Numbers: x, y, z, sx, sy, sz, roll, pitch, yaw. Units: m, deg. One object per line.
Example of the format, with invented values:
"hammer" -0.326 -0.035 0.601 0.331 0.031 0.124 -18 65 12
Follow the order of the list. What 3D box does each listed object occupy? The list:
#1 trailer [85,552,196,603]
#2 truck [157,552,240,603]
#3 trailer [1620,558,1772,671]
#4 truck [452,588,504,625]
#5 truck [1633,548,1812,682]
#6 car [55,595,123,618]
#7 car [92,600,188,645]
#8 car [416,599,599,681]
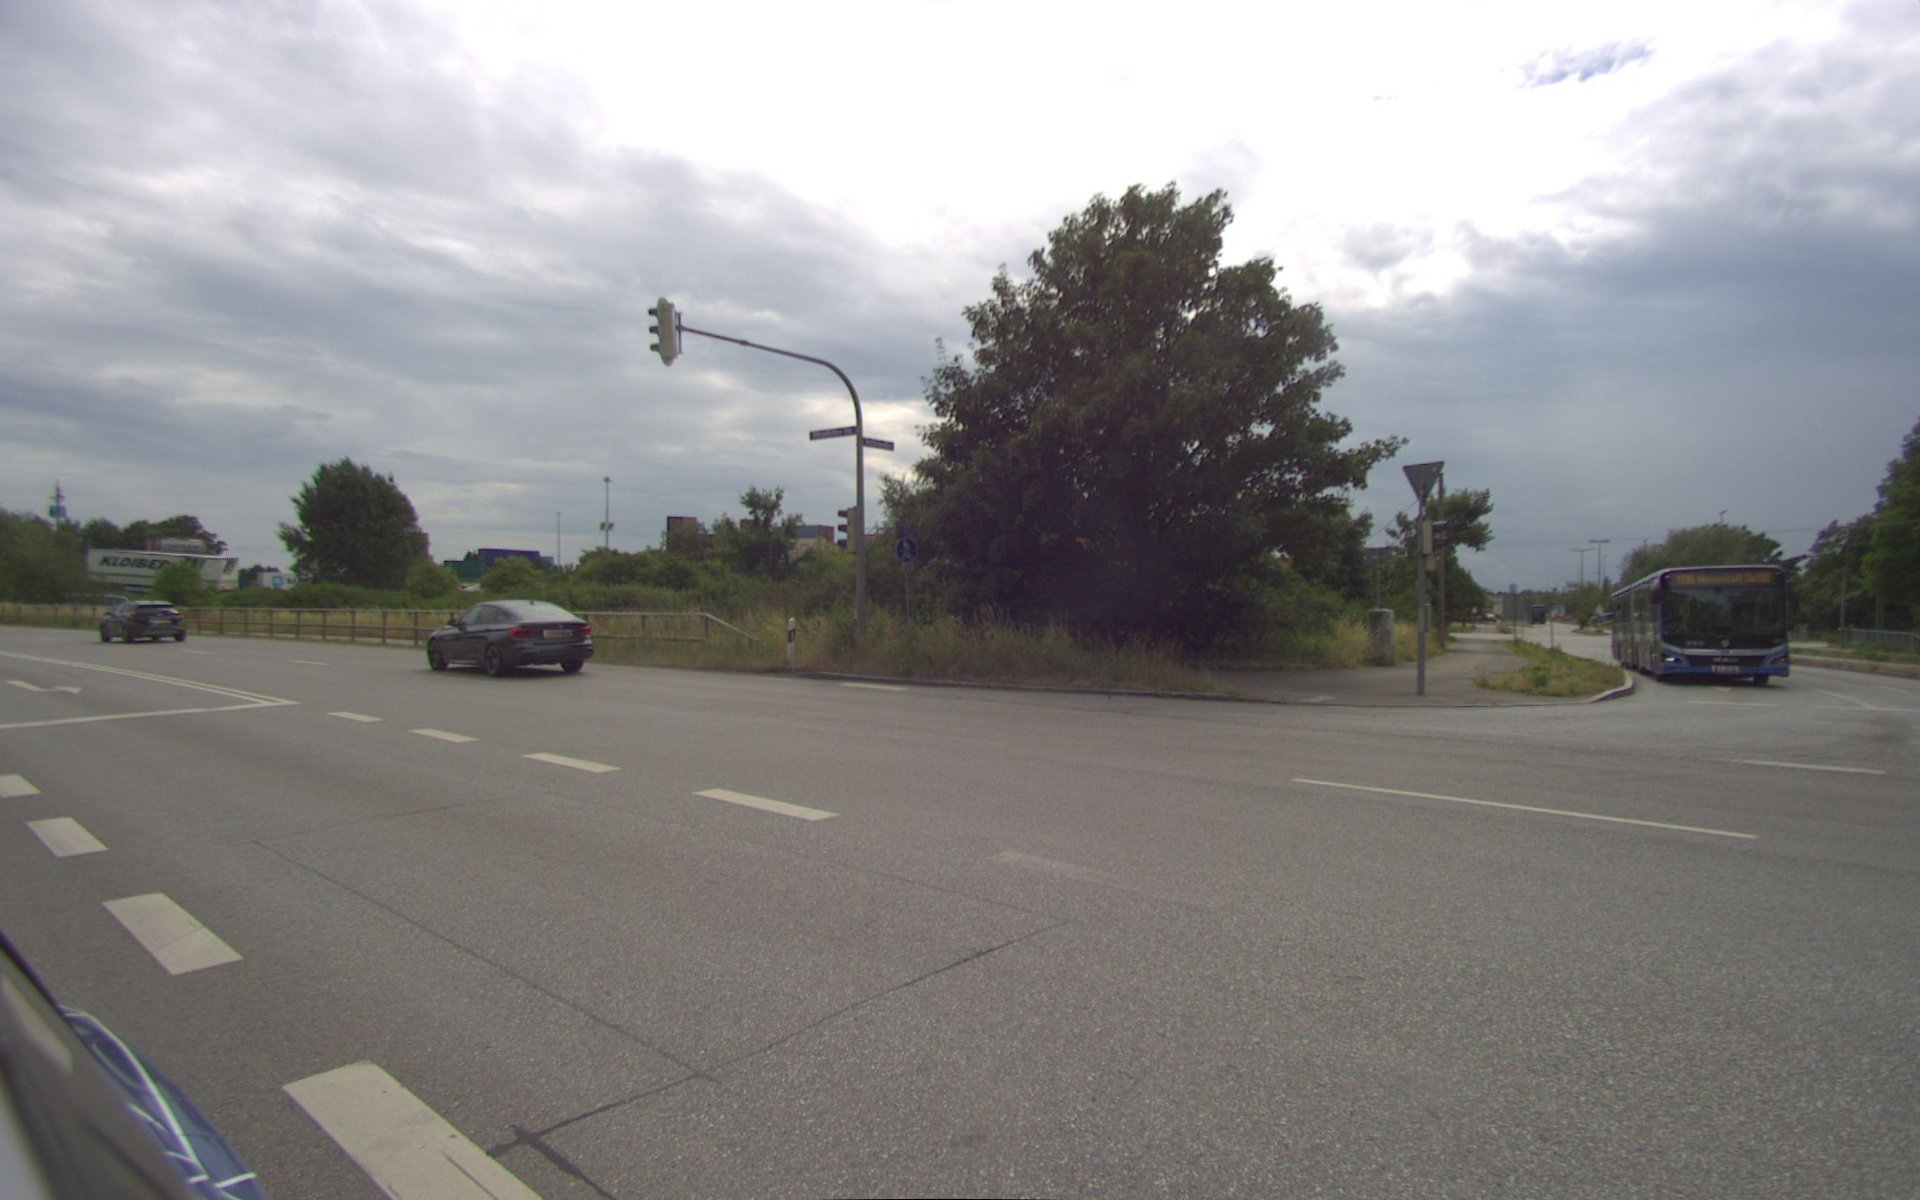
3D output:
"trailer" -81.904 -2.296 101.223 8.859 5.033 2.807 0 1 1
"truck" -76.033 -2.262 101.119 6.104 5.033 2.804 0 1 1
"trailer" 23.459 0.462 32.812 2.876 3.060 10.643 -2 -1 30
"truck" -57.706 0.723 121.185 5.338 4.325 2.205 0 1 -16
"truck" 20.173 0.404 27.255 2.876 3.060 7.859 -2 -1 30
"car" -76.667 0.555 89.193 4.474 1.890 2.004 -1 1 -39
"car" -30.870 0.811 38.072 3.990 1.585 1.776 0 0 35
"car" -9.625 0.761 21.310 4.904 1.541 1.769 0 0 43
